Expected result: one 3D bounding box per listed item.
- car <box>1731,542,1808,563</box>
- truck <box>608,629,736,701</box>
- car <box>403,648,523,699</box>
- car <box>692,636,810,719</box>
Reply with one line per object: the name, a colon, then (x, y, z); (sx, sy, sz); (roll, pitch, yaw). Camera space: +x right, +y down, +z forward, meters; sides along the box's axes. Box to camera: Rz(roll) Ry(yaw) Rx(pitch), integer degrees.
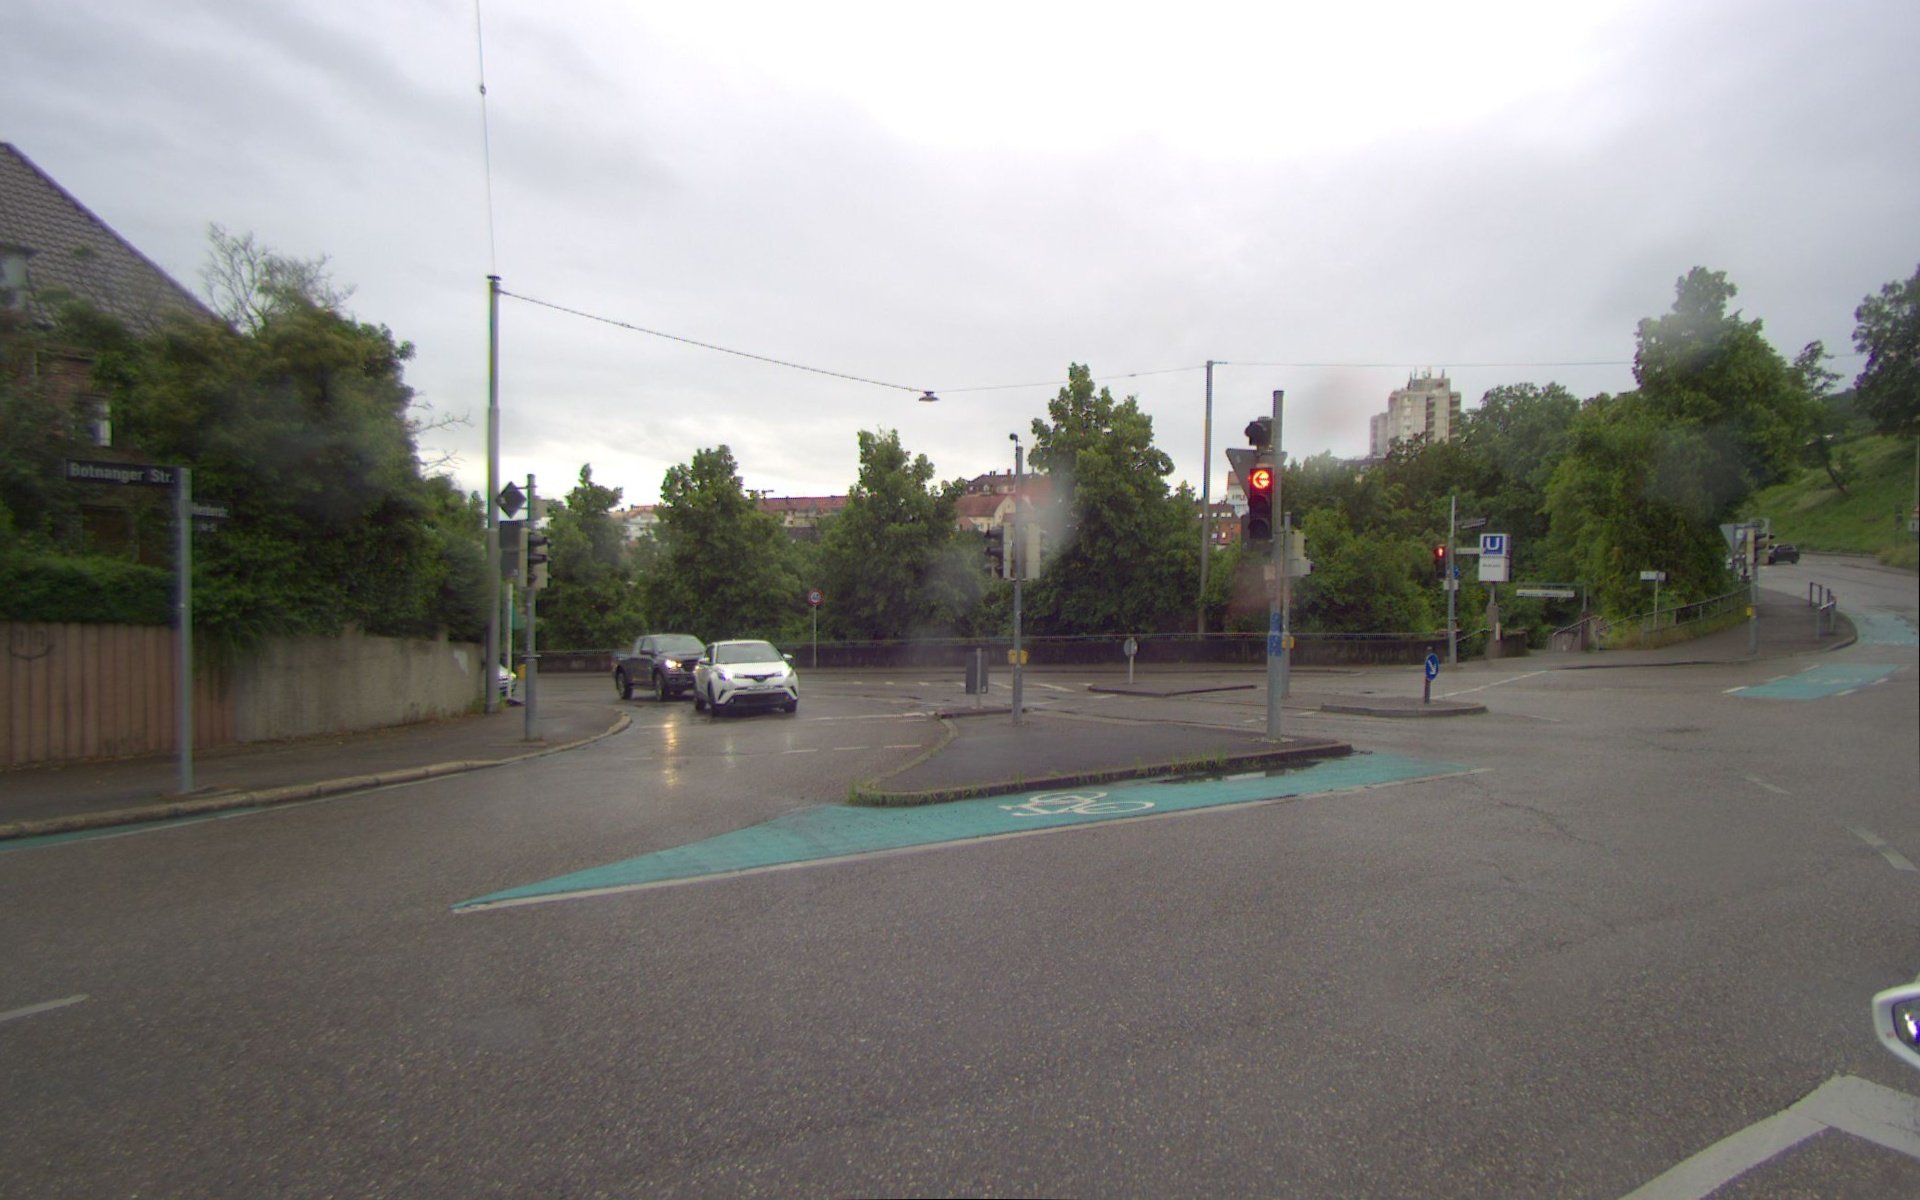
car: (60.522, -3.564, 75.137); (4.321, 1.532, 1.960); (-1, 2, -7)
truck: (-8.333, 1.871, 28.775); (1.890, 1.809, 4.940); (-2, -3, -36)
car: (-17.858, 2.614, 36.062); (4.238, 1.653, 1.853); (-2, -1, 31)
car: (-4.587, 1.632, 21.626); (1.810, 1.527, 3.866); (-2, -2, -21)
